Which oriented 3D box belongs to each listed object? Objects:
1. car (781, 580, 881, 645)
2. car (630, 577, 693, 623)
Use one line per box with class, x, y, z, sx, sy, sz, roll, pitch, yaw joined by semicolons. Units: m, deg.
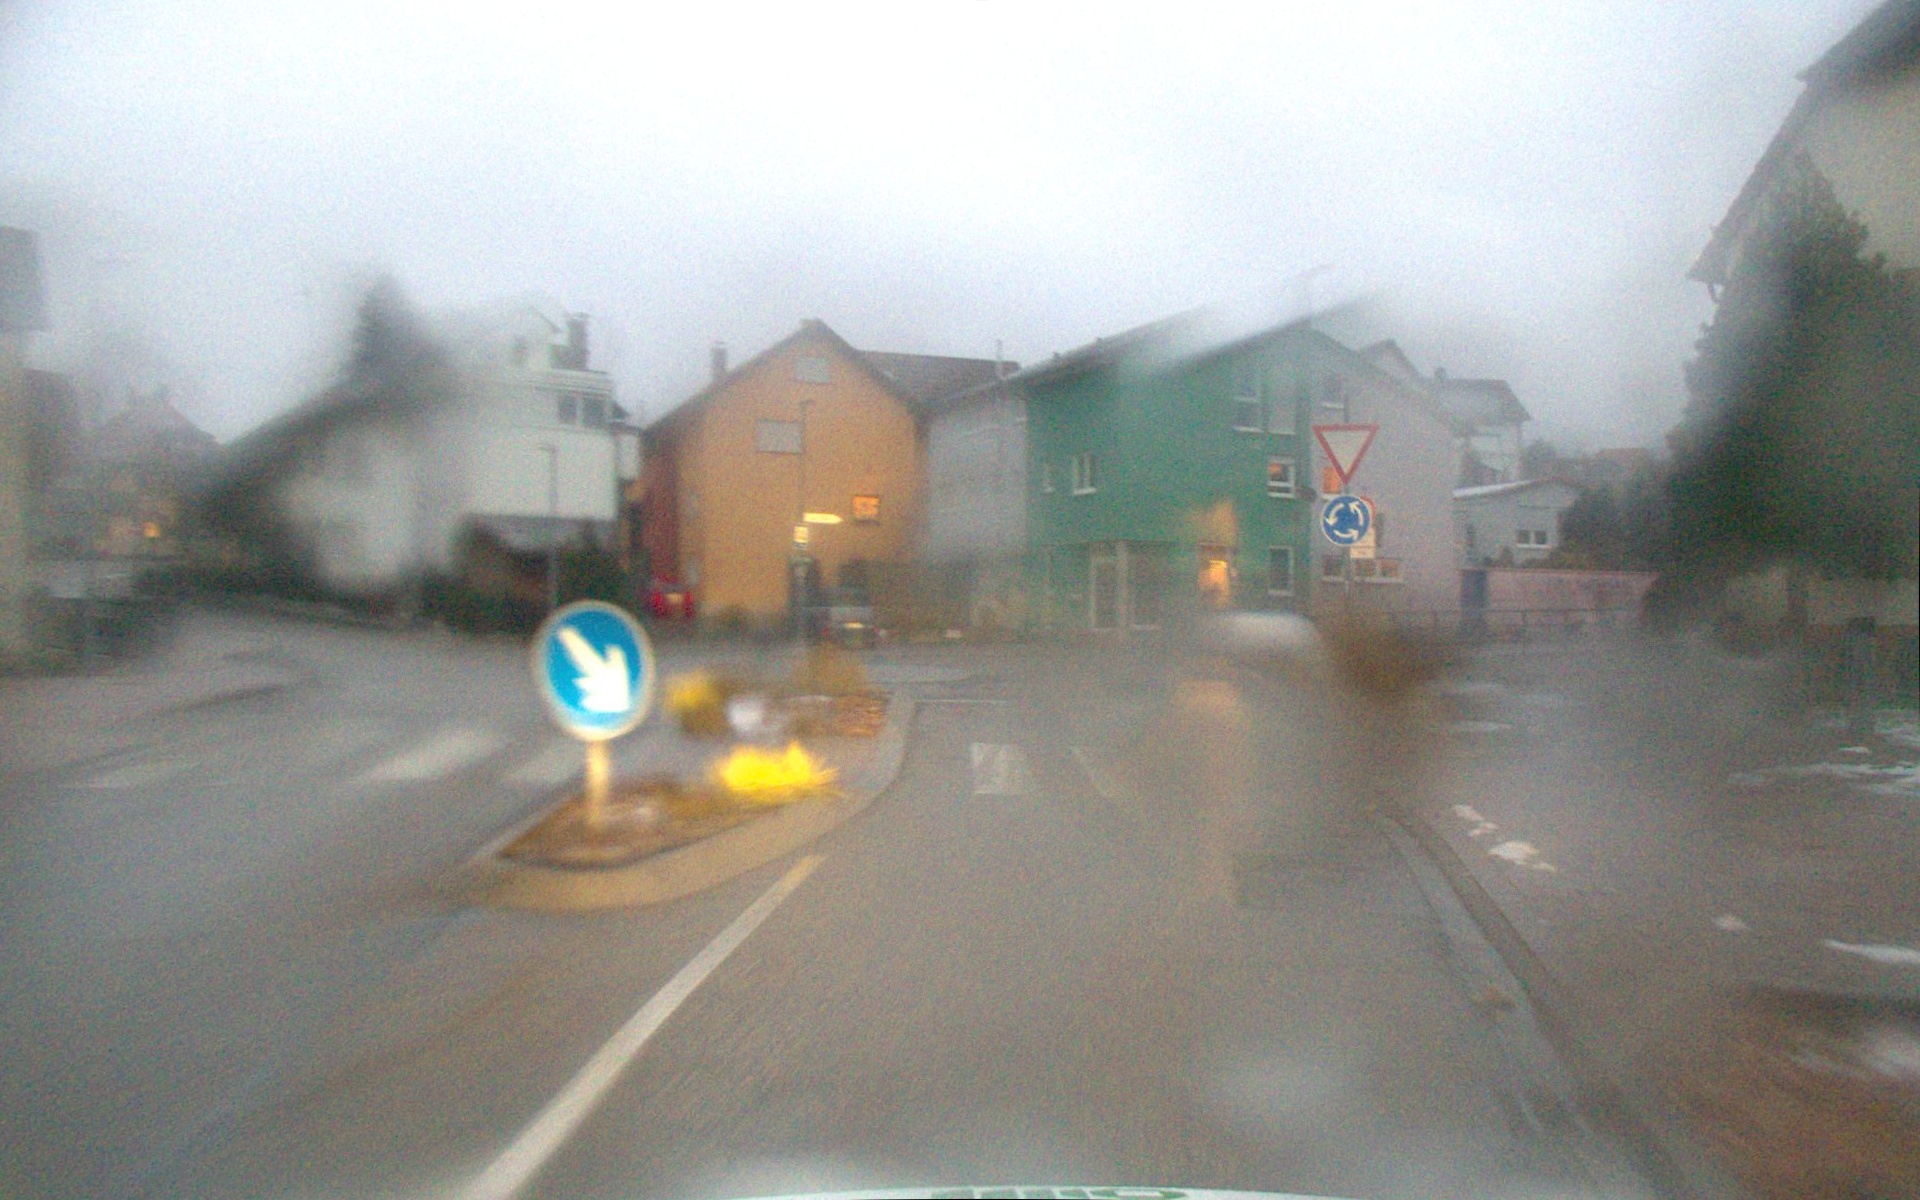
car;-3.597;0.321;45.458;1.962;1.673;3.982;0;1;-17
car;-11.565;-0.016;63.888;1.962;1.673;3.982;0;1;-17
